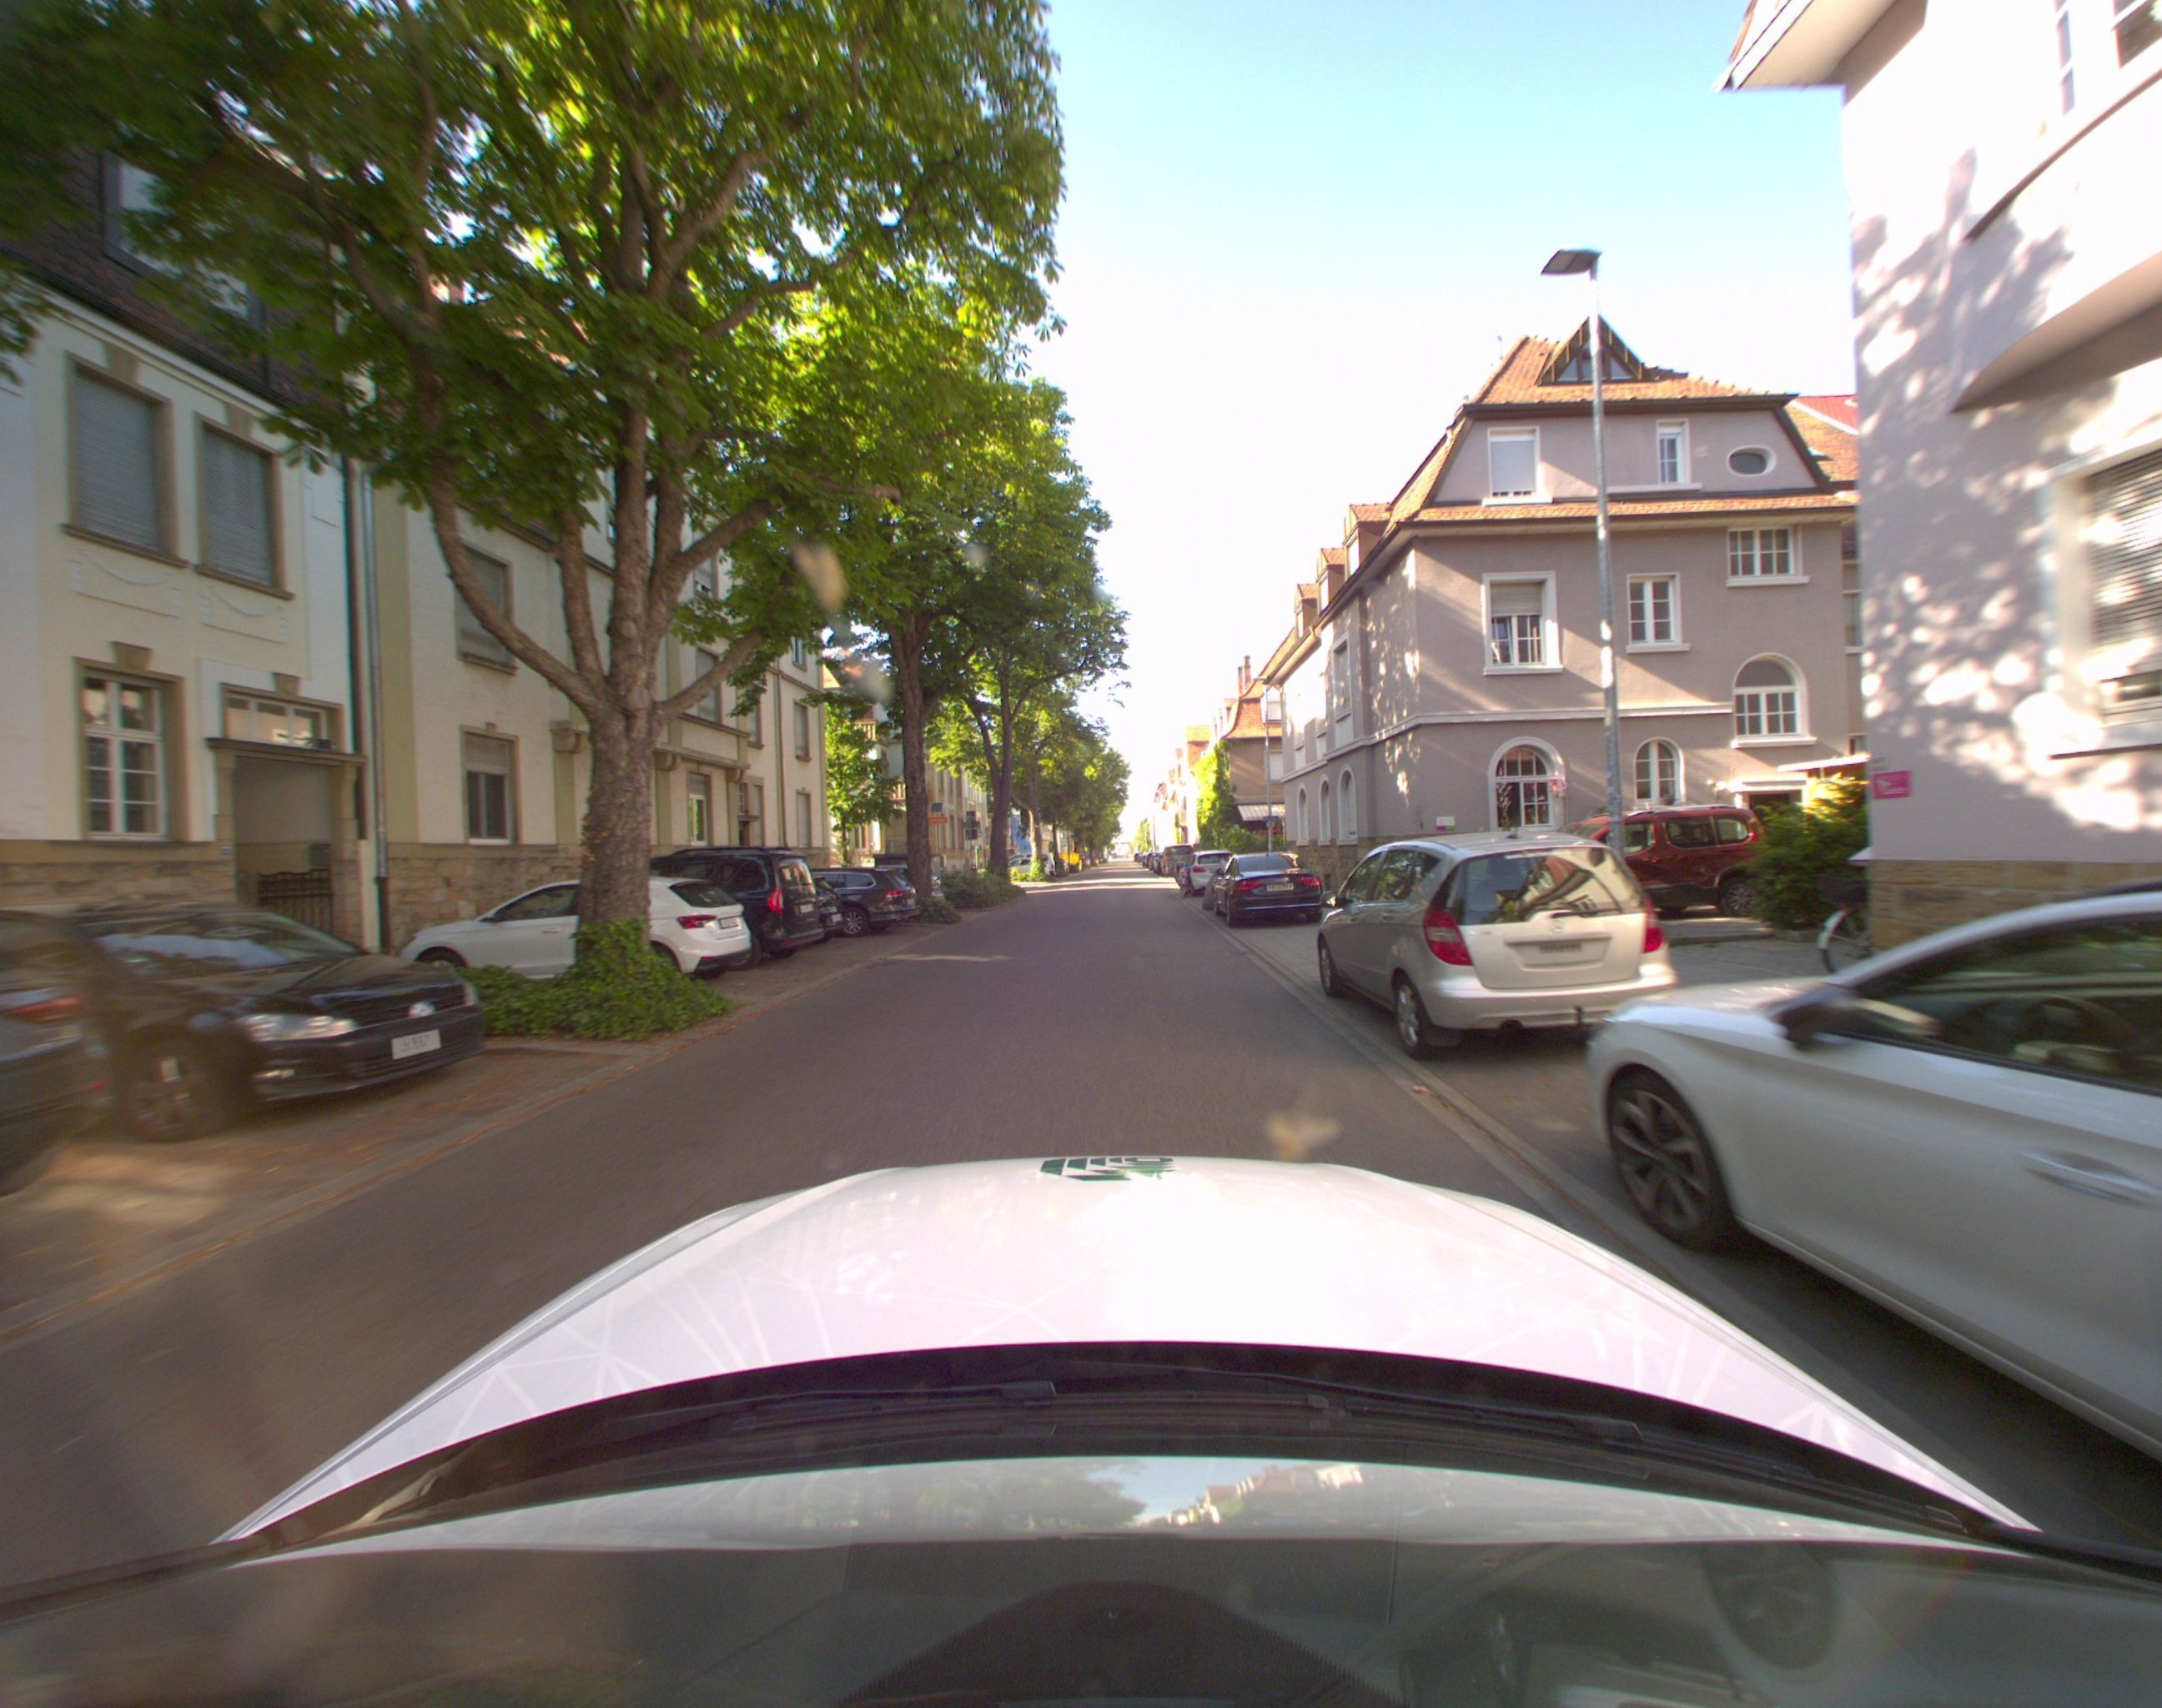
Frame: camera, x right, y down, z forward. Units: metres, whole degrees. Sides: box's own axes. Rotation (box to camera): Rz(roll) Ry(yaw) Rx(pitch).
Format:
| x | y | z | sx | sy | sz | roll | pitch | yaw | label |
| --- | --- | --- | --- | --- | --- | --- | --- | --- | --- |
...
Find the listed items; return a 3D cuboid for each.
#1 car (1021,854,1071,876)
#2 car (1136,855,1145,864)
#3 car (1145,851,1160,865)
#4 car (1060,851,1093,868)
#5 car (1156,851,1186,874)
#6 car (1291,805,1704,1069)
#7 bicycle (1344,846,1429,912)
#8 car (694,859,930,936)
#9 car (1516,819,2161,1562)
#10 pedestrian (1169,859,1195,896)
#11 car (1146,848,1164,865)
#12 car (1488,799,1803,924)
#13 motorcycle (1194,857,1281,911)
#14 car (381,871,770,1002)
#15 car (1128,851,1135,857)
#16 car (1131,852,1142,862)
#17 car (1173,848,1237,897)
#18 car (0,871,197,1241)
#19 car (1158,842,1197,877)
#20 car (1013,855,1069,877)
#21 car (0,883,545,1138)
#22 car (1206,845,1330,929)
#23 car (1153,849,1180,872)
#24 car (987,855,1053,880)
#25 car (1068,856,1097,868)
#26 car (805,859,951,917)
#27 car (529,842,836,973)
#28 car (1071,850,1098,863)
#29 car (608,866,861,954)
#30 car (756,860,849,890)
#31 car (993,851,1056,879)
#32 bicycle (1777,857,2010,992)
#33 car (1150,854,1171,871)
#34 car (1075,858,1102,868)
| x | y | z | sx | sy | sz | roll | pitch | yaw | label |
| --- | --- | --- | --- | --- | --- | --- | --- | --- | --- |
| -2.890 | 0.882 | 66.450 | 3.981 | 1.552 | 1.834 | -2 | 0 | -6 | car |
| 12.196 | 1.154 | 166.858 | 1.763 | 1.631 | 3.870 | -2 | 0 | 4 | car |
| 8.425 | 0.479 | 96.190 | 1.763 | 1.631 | 3.870 | -2 | 0 | 4 | car |
| -0.612 | 0.706 | 103.146 | 3.981 | 2.013 | 1.996 | -2 | 0 | -6 | car |
| 6.112 | 0.551 | 55.677 | 1.684 | 1.398 | 3.808 | -5 | 0 | 3 | car |
| 3.239 | 0.566 | 7.348 | 1.781 | 1.600 | 4.004 | -5 | -1 | 4 | car |
| 6.779 | 0.526 | 18.228 | 1.078 | 1.337 | 2.251 | -3 | 0 | 2 | bicycle |
| -5.788 | 0.917 | 17.934 | 4.515 | 1.503 | 1.892 | -1 | 0 | 1 | car |
| 2.957 | 0.644 | 1.724 | 1.673 | 1.457 | 4.438 | -3 | 0 | 0 | car |
| 3.576 | 0.820 | 28.838 | 0.722 | 1.257 | 0.645 | -3 | 0 | -5 | pedestrian |
| 7.567 | 0.215 | 83.568 | 1.763 | 1.631 | 3.870 | -2 | 0 | 4 | car |
| 9.601 | 0.136 | 14.116 | 4.122 | 1.843 | 1.766 | -3 | -1 | 2 | car |
| 4.189 | 0.782 | 21.766 | 2.175 | 1.339 | 0.926 | 1 | 1 | 19 | motorcycle |
| -6.464 | 1.010 | 10.769 | 3.976 | 1.448 | 1.741 | -2 | 0 | -2 | car |
| 14.741 | 0.087 | 237.441 | 1.763 | 1.631 | 3.870 | -2 | 0 | 4 | car |
| 9.497 | 0.464 | 138.235 | 1.763 | 1.631 | 3.870 | -2 | 0 | 4 | car |
| 4.433 | 0.636 | 29.692 | 1.693 | 1.539 | 4.156 | -4 | 0 | 1 | car |
| -6.698 | 0.915 | 3.421 | 3.972 | 1.592 | 1.860 | -1 | 0 | 2 | car |
| 5.744 | 0.297 | 48.980 | 1.897 | 1.870 | 4.677 | -5 | 0 | 3 | car |
| -3.018 | 0.927 | 61.655 | 3.968 | 1.469 | 1.866 | -2 | 1 | 4 | car |
| -6.450 | 0.988 | 5.984 | 3.881 | 1.446 | 1.863 | -1 | 0 | 7 | car |
| 3.916 | 0.628 | 17.797 | 1.846 | 1.493 | 4.612 | -4 | 0 | 4 | car |
| 6.422 | 0.452 | 61.464 | 1.781 | 1.618 | 3.870 | -2 | 0 | 4 | car |
| -3.728 | 0.830 | 50.494 | 3.975 | 1.464 | 1.797 | 0 | -1 | -1 | car |
| 0.255 | 1.136 | 115.043 | 3.987 | 1.735 | 1.897 | 0 | 1 | 5 | car |
| -5.704 | 0.937 | 23.149 | 3.660 | 1.487 | 1.642 | -2 | 0 | 2 | car |
| -6.240 | 0.804 | 13.091 | 3.965 | 1.855 | 1.829 | -2 | -1 | 1 | car |
| 0.519 | 0.367 | 123.931 | 3.987 | 1.841 | 2.003 | 0 | 1 | 5 | car |
| -6.421 | 1.012 | 15.427 | 3.966 | 1.437 | 1.829 | -2 | 0 | 0 | car |
| -15.242 | 1.120 | 44.717 | 4.387 | 1.465 | 1.804 | -2 | 0 | 3 | car |
| -3.620 | 0.729 | 52.730 | 3.975 | 1.761 | 1.797 | 0 | -1 | -1 | car |
| 7.162 | 0.605 | 7.208 | 1.630 | 1.100 | 0.396 | -2 | 0 | 0 | bicycle |
| 7.057 | 0.721 | 72.384 | 1.763 | 1.455 | 3.870 | -2 | 0 | 4 | car |
| 1.209 | 1.481 | 129.958 | 3.953 | 1.409 | 1.710 | -2 | 0 | 20 | car |
